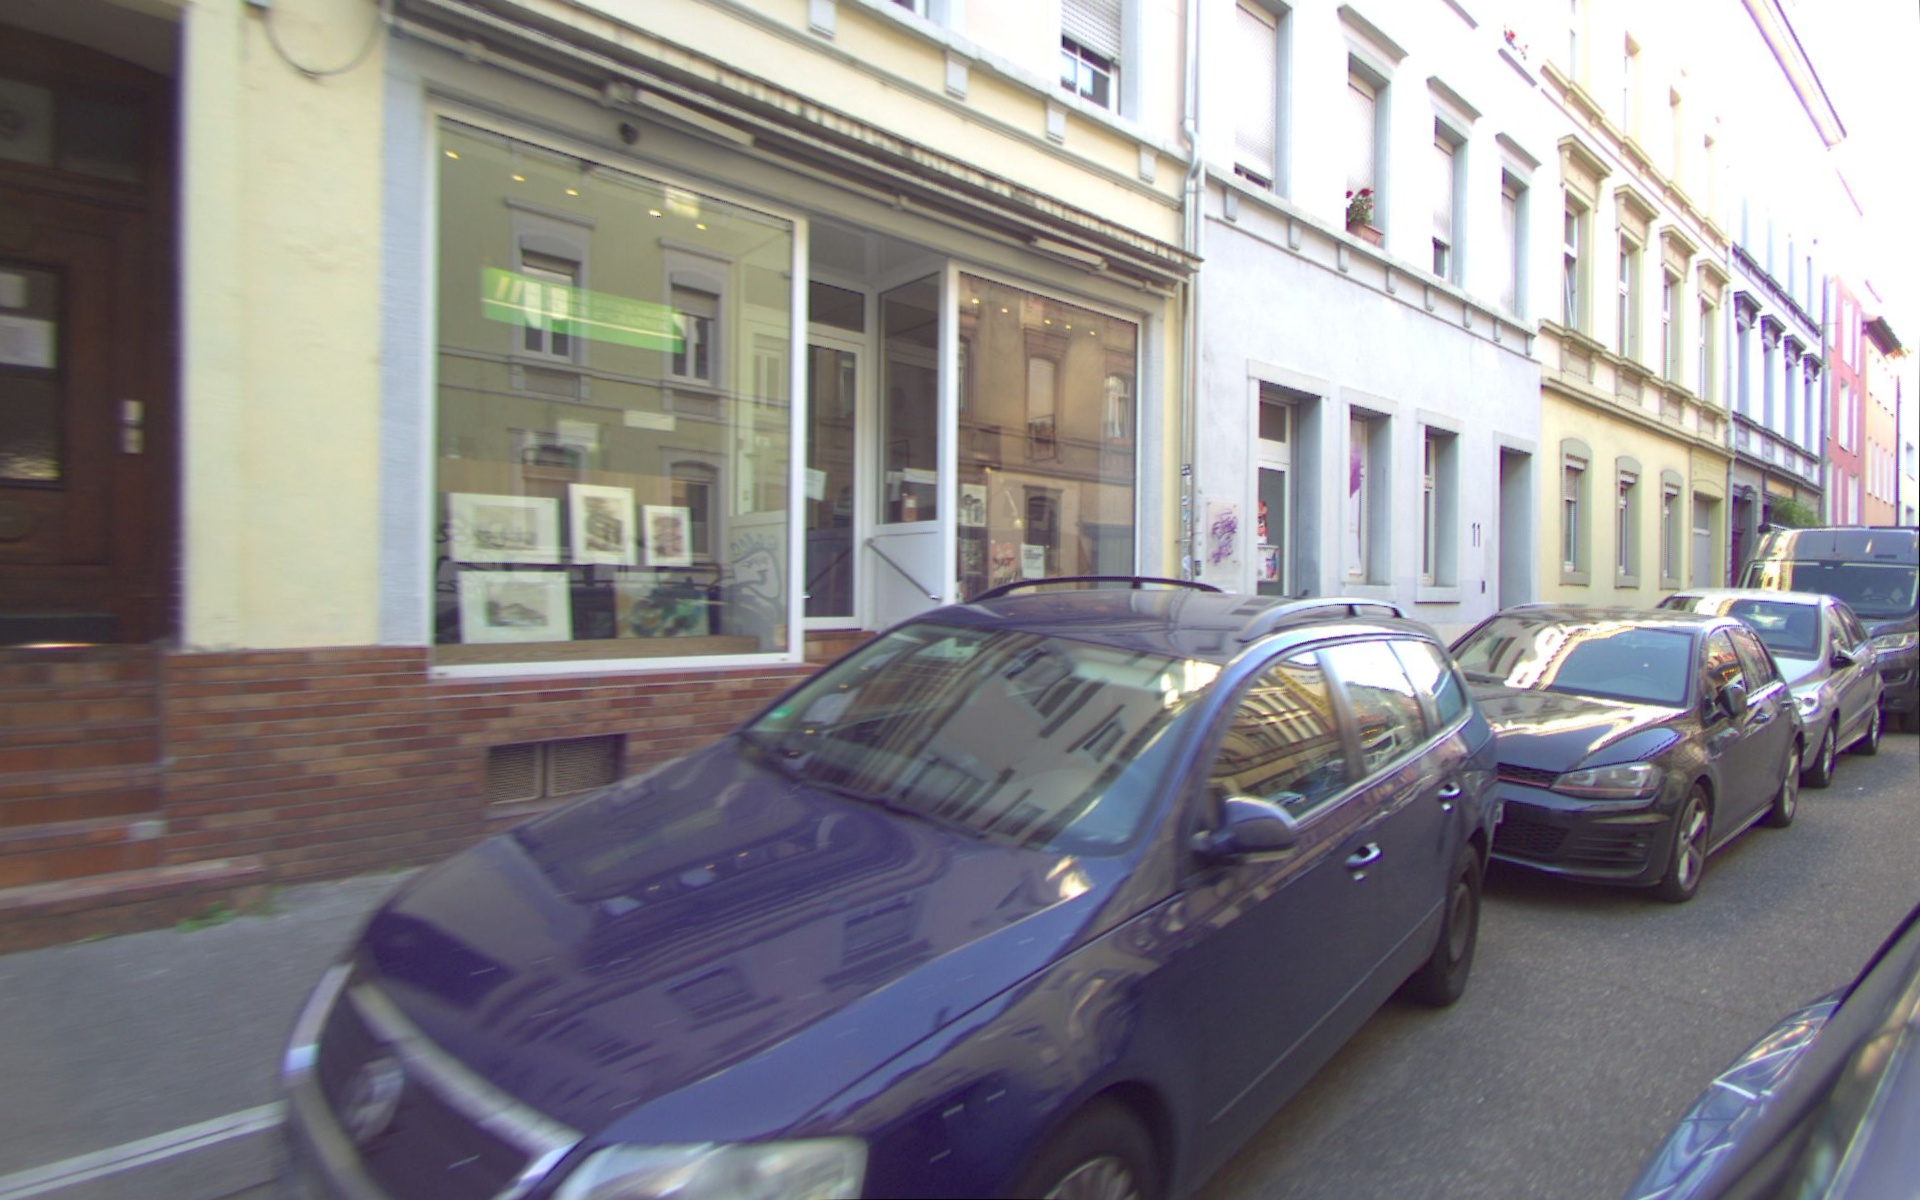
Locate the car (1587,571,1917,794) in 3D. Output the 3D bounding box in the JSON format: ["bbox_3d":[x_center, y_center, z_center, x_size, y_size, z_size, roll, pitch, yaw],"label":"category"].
[{"bbox_3d":[7.696,0.603,9.669,4.299,1.627,1.697,0,2,-42],"label":"car"}]

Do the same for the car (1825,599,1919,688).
[{"bbox_3d":[17.243,0.722,18.396,4.099,1.462,1.750,0,0,-41],"label":"car"}]

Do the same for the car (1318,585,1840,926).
[{"bbox_3d":[4.207,0.688,6.572,4.169,1.504,1.749,0,1,-42],"label":"car"}]

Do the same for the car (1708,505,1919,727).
[{"bbox_3d":[12.430,0.144,13.906,6.200,2.455,2.179,0,2,-42],"label":"car"}]

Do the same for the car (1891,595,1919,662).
[{"bbox_3d":[23.350,0.674,23.719,4.469,1.472,1.790,0,4,-42],"label":"car"}]

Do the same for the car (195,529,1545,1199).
[{"bbox_3d":[0.471,0.665,3.389,1.809,1.496,4.542,5,3,39],"label":"car"}]

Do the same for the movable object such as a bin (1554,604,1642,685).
[{"bbox_3d":[9.140,0.617,14.499,0.696,1.055,0.864,1,3,-43],"label":"movable object such as a bin"}]
